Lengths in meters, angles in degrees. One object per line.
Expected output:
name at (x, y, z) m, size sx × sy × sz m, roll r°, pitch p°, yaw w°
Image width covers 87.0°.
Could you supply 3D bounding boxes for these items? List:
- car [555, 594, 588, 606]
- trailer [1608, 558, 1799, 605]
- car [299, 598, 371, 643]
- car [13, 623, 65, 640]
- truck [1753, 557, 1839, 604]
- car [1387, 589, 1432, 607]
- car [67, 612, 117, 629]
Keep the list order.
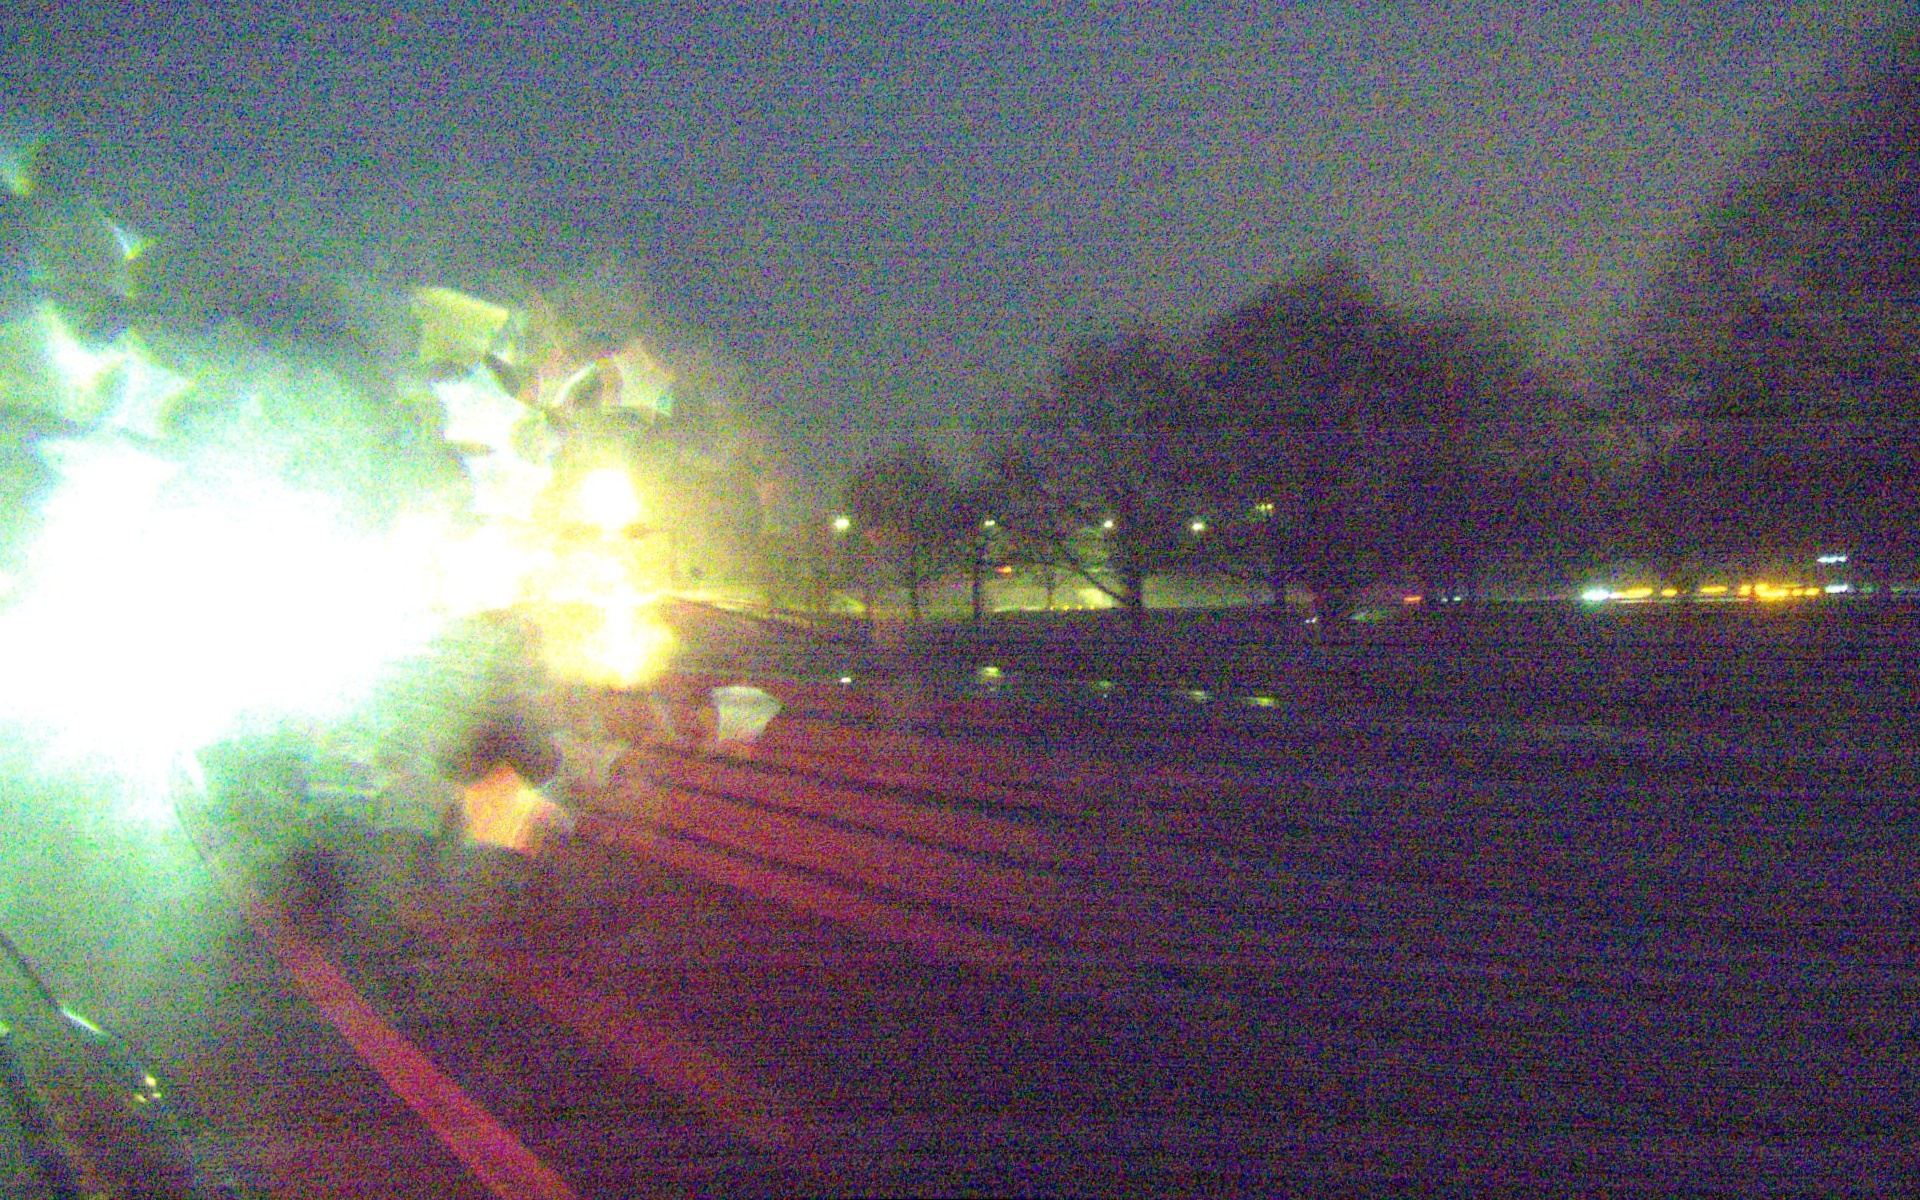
car at (-54.910, -0.007, 142.939) m, size 3.935 × 1.452 × 1.722 m, roll -4°, pitch 0°, yaw -37°
trailer at (67.153, -1.591, 91.867) m, size 13.656 × 3.752 × 2.563 m, roll -1°, pitch 2°, yaw 44°
car at (-27.311, 0.839, 44.353) m, size 1.966 × 1.760 × 4.114 m, roll -3°, pitch 1°, yaw -22°
car at (-98.291, 3.309, 108.061) m, size 3.936 × 1.452 × 1.722 m, roll -5°, pitch 2°, yaw -37°
truck at (71.993, -1.649, 87.184) m, size 5.459 × 3.738 × 2.560 m, roll -1°, pitch 2°, yaw 44°
car at (47.223, -0.192, 106.267) m, size 3.990 × 1.630 × 1.977 m, roll -2°, pitch 1°, yaw 35°
car at (-93.153, 2.194, 108.637) m, size 3.936 × 1.452 × 1.722 m, roll -4°, pitch 1°, yaw -38°
